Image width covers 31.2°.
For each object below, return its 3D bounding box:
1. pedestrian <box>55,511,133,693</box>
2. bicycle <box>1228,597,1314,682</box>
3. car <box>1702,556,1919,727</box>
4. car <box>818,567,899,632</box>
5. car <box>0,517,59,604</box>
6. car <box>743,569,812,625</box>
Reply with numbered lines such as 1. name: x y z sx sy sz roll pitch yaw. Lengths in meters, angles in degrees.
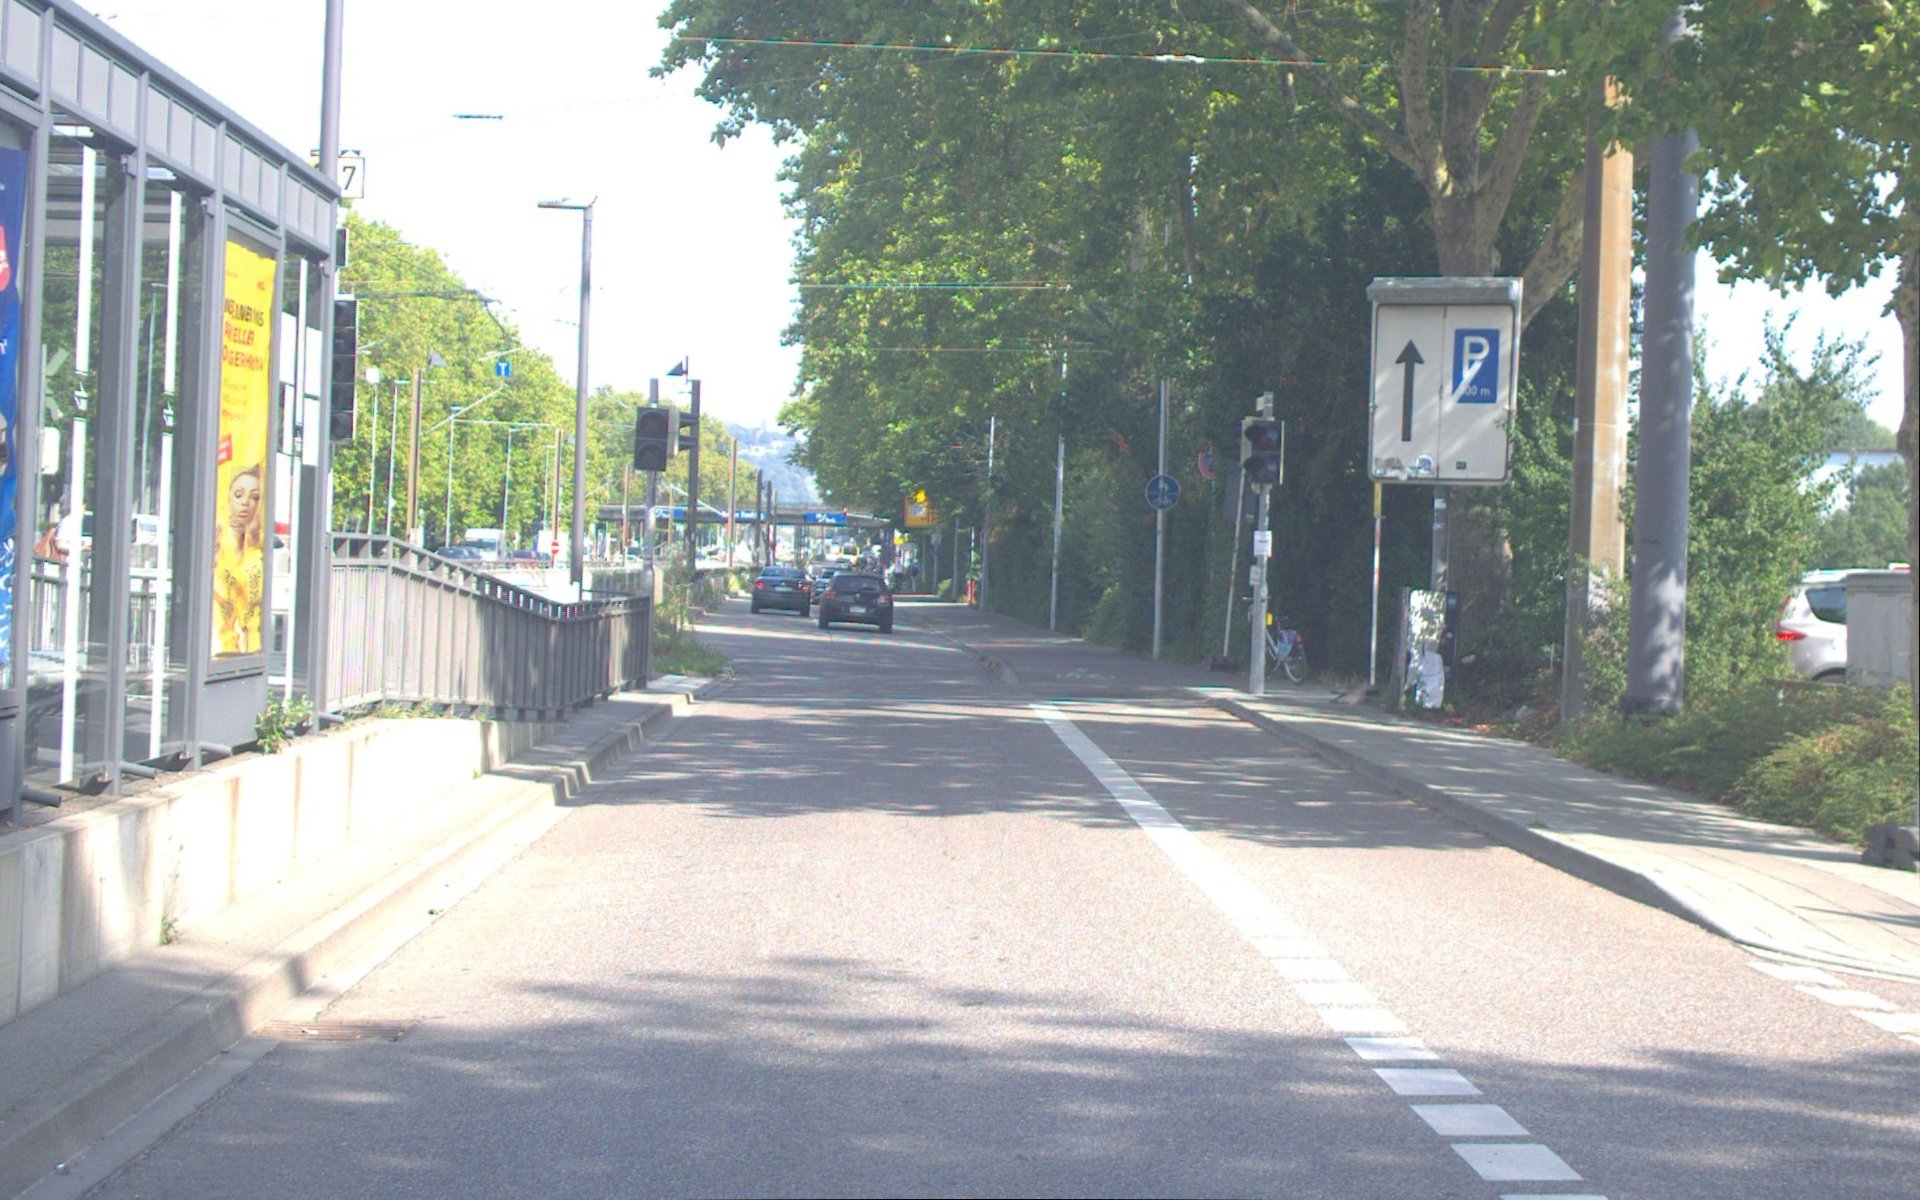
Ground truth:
1. pedestrian: -8.734 0.027 34.688 0.707 1.815 0.773 0 -1 -11
2. bicycle: 4.006 0.499 44.468 0.610 1.018 2.403 2 1 -6
3. car: 9.651 0.436 34.246 3.986 1.581 2.000 2 1 -2
4. car: -2.507 -0.035 84.275 1.907 1.532 4.001 0 1 -3
5. car: -21.131 -0.860 75.044 1.993 1.831 4.000 1 0 -2
6. car: -5.358 -0.110 101.041 1.973 1.532 4.001 -1 1 -3
